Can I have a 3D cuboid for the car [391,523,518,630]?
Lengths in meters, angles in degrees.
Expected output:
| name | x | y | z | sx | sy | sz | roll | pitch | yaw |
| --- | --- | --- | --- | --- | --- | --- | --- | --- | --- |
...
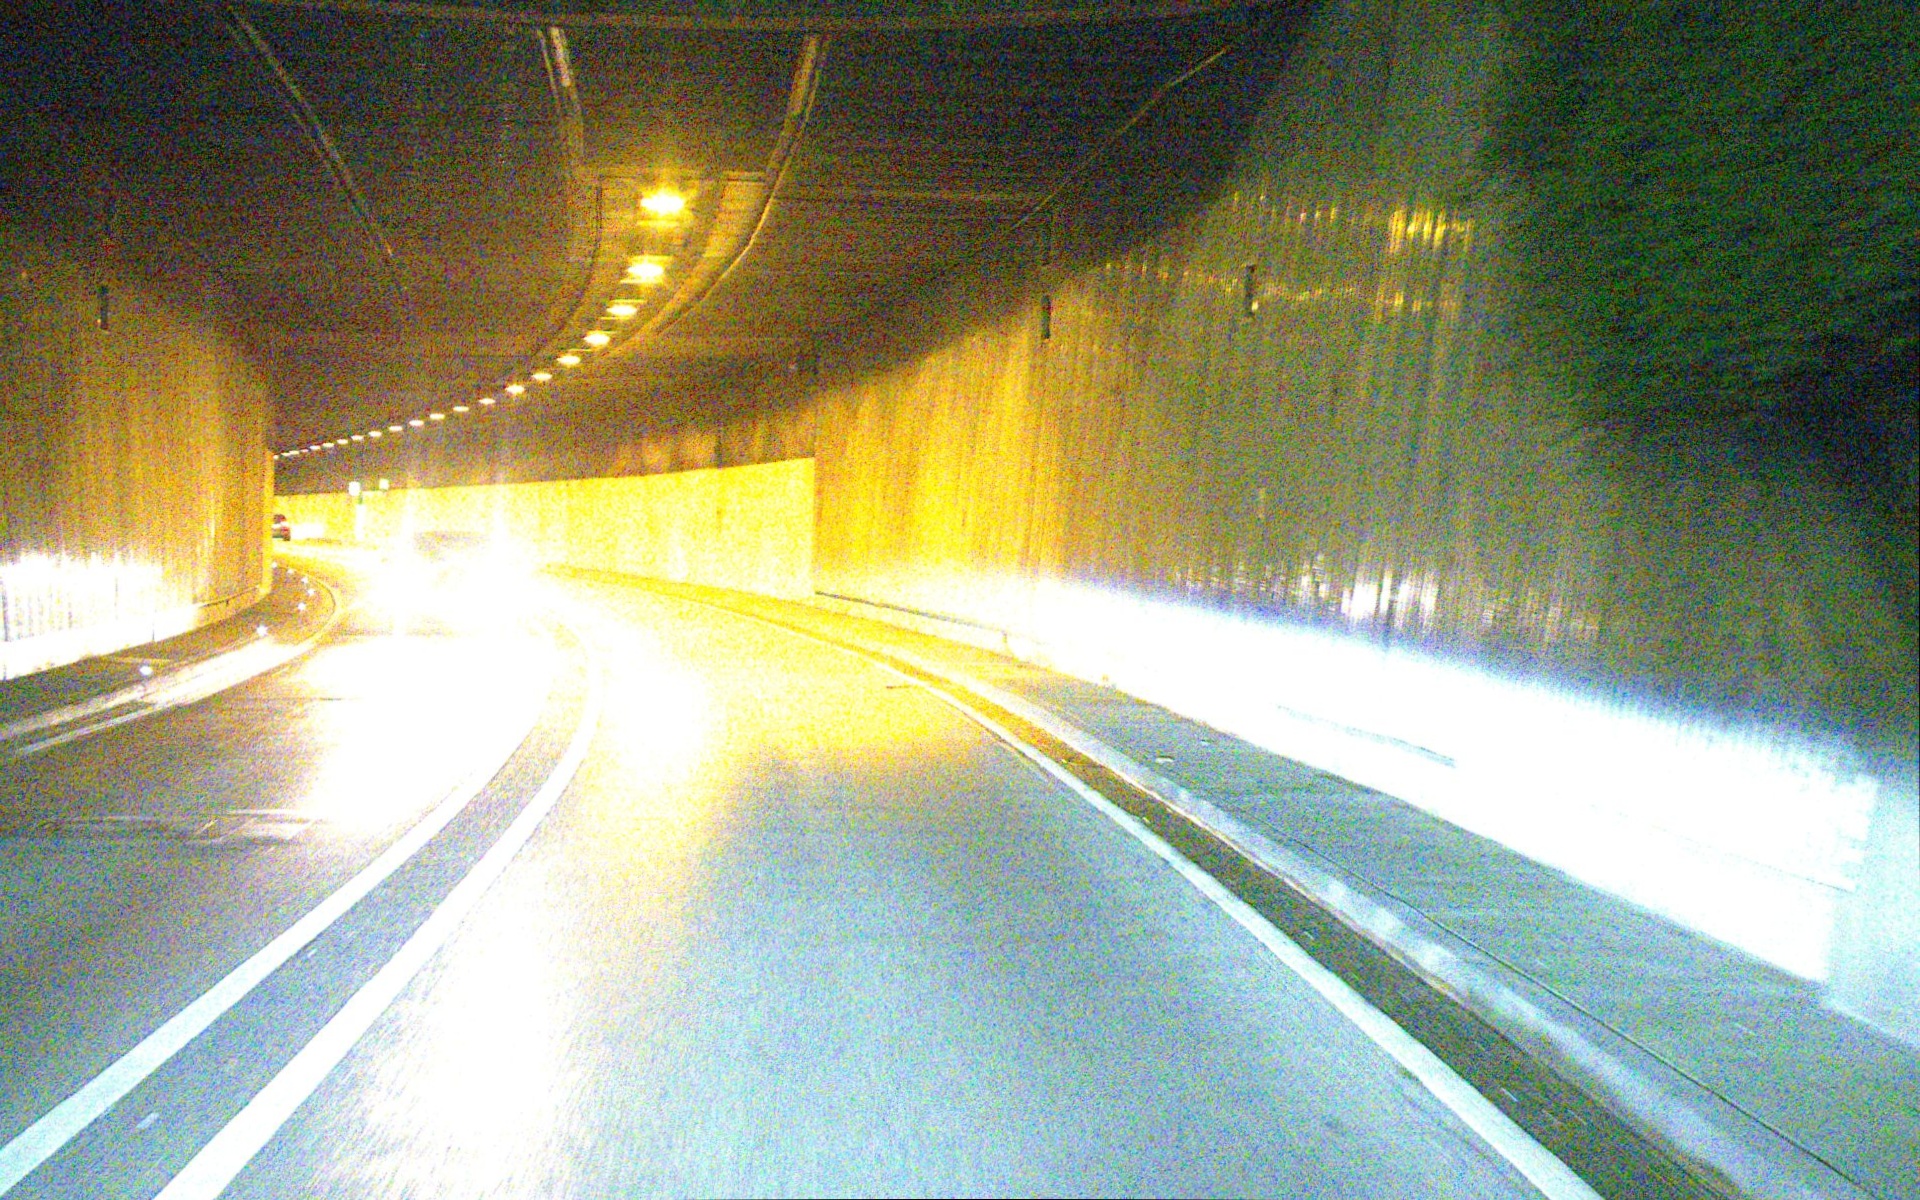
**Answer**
| name | x | y | z | sx | sy | sz | roll | pitch | yaw |
| --- | --- | --- | --- | --- | --- | --- | --- | --- | --- |
| car | -7.327 | -0.373 | 49.803 | 1.715 | 1.438 | 4.395 | 1 | 1 | -9 |
